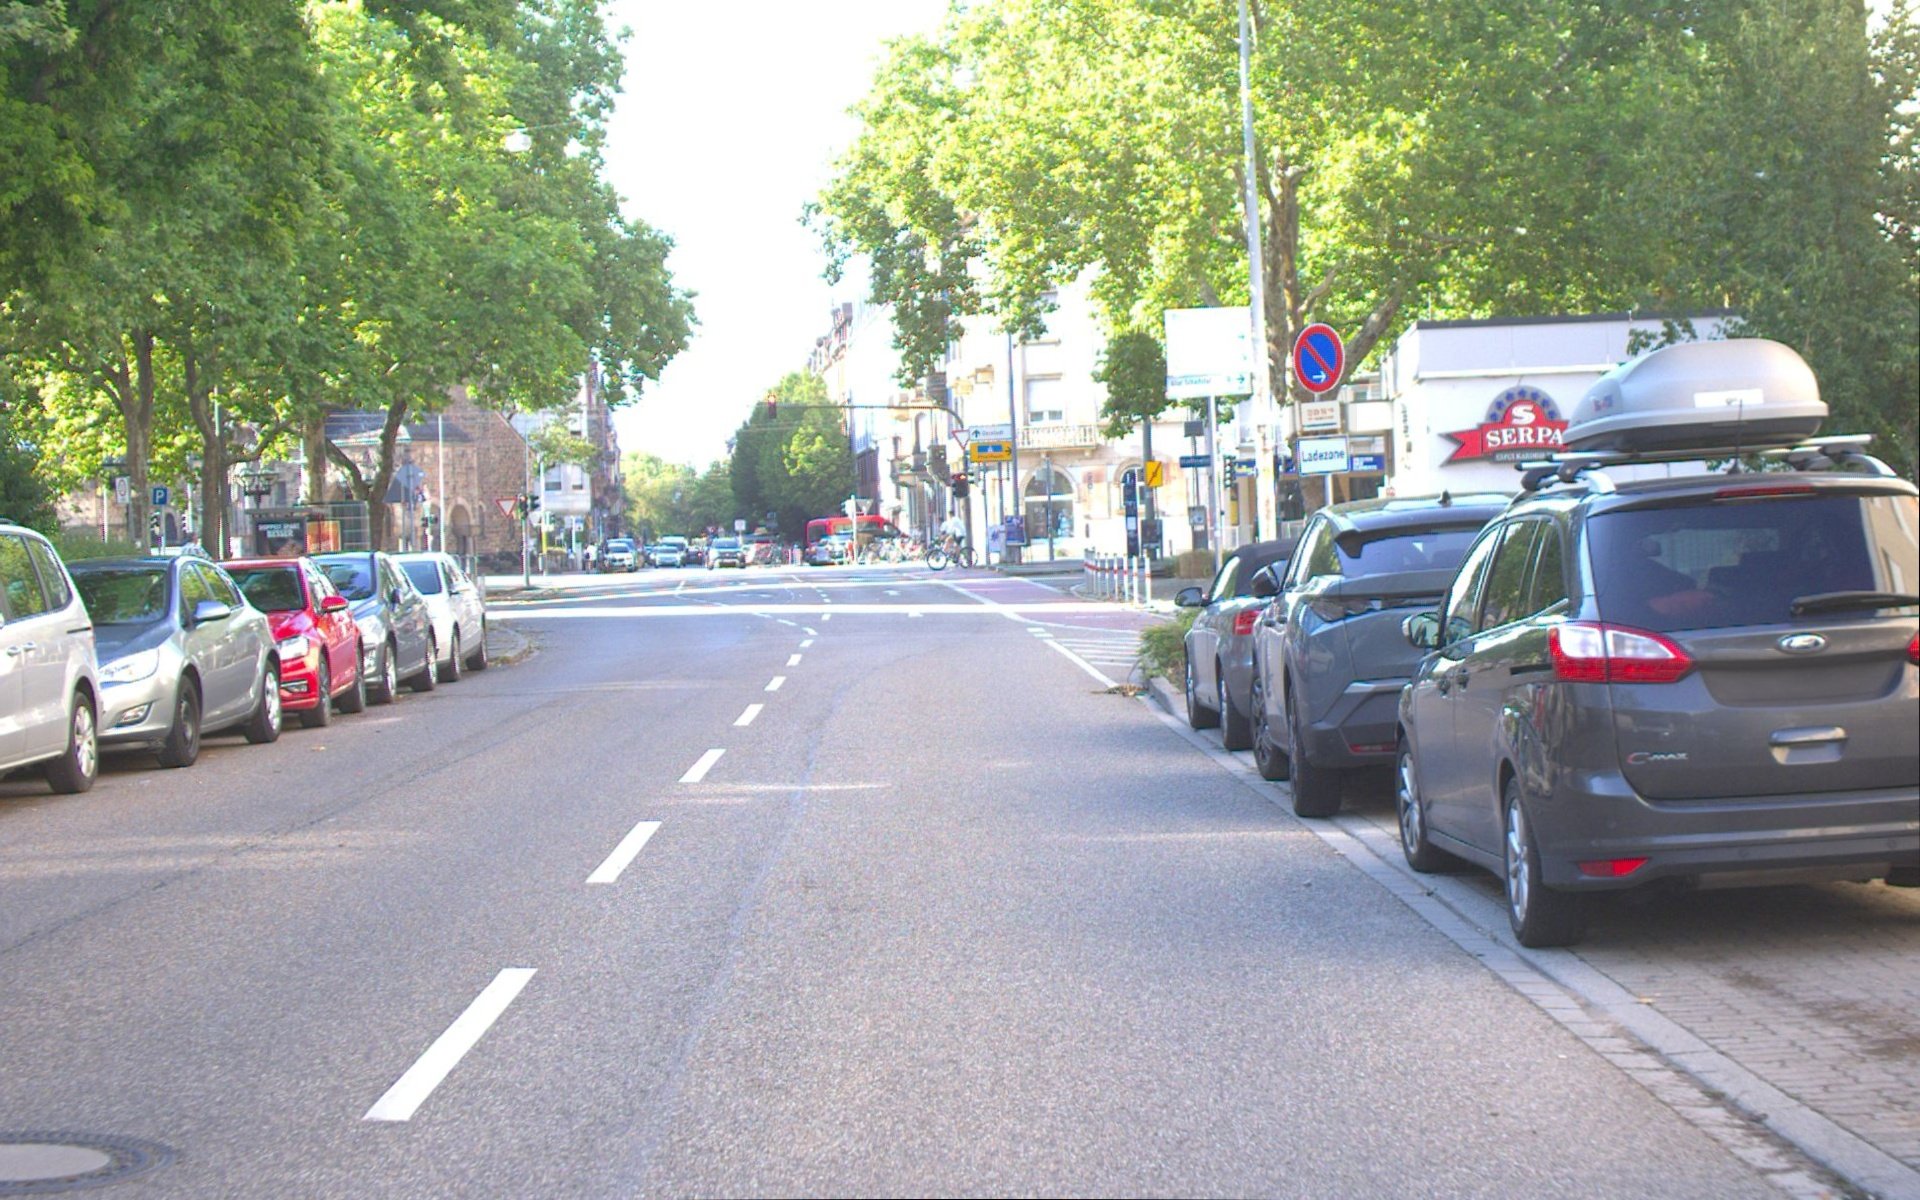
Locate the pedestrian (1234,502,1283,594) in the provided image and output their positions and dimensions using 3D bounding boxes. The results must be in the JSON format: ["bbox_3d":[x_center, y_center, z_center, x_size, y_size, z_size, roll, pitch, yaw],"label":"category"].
[{"bbox_3d":[6.777,-1.169,78.192,0.827,2.007,1.153,-5,0,-1],"label":"pedestrian"}]

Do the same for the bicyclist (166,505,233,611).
[{"bbox_3d":[-14.525,-0.801,65.667,0.976,2.007,0.796,0,0,34],"label":"bicyclist"}]

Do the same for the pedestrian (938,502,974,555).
[{"bbox_3d":[-0.120,-2.312,111.206,0.992,1.702,0.627,0,0,27],"label":"pedestrian"}]

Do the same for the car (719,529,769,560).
[{"bbox_3d":[-10.436,-2.692,166.104,1.587,1.457,3.181,0,0,13],"label":"car"}]

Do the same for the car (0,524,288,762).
[{"bbox_3d":[-6.167,0.274,24.645,1.870,1.553,4.497,0,0,-1],"label":"car"}]

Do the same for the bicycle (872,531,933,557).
[{"bbox_3d":[-2.659,-2.581,158.828,2.802,1.199,0.517,0,0,-7],"label":"bicycle"}]

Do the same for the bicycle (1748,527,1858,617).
[{"bbox_3d":[9.324,-0.326,38.099,0.636,0.922,2.230,0,3,-1],"label":"bicycle"}]

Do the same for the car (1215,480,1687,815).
[{"bbox_3d":[2.602,0.227,19.340,1.927,1.653,4.678,0,0,-1],"label":"car"}]

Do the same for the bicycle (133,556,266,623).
[{"bbox_3d":[-14.513,-0.202,65.682,1.010,1.260,2.478,0,0,34],"label":"bicycle"}]

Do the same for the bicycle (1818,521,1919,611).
[{"bbox_3d":[10.213,-0.396,38.461,0.636,0.922,2.230,0,3,-1],"label":"bicycle"}]

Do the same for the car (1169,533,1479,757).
[{"bbox_3d":[2.513,0.289,24.607,1.740,1.468,4.000,0,0,-1],"label":"car"}]

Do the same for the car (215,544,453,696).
[{"bbox_3d":[-6.250,0.183,34.721,1.703,1.435,4.129,0,0,-1],"label":"car"}]

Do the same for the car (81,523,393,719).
[{"bbox_3d":[-6.095,0.161,29.411,1.870,1.553,4.000,0,0,-1],"label":"car"}]

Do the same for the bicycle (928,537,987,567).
[{"bbox_3d":[-0.081,-1.544,111.209,1.786,0.978,0.656,0,0,27],"label":"bicycle"}]

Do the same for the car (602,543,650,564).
[{"bbox_3d":[-18.638,-2.577,192.061,1.595,1.140,3.381,0,0,14],"label":"car"}]

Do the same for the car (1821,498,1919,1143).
[{"bbox_3d":[3.033,0.498,6.675,1.605,1.489,4.042,-1,0,-1],"label":"car"}]

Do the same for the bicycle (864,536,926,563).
[{"bbox_3d":[-2.975,-2.296,157.099,2.802,1.199,0.510,0,0,-7],"label":"bicycle"}]

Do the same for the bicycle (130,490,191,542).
[{"bbox_3d":[-18.643,-1.938,80.242,0.718,1.141,3.292,0,0,-1],"label":"bicycle"}]

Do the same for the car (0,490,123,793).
[{"bbox_3d":[-6.266,0.226,19.449,1.916,1.672,4.974,0,0,-1],"label":"car"}]

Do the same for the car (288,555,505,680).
[{"bbox_3d":[-6.389,0.182,39.433,1.769,1.348,4.711,0,0,-1],"label":"car"}]

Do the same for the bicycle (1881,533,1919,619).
[{"bbox_3d":[10.952,-0.265,38.490,0.636,0.922,2.230,0,3,-1],"label":"bicycle"}]

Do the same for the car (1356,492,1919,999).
[{"bbox_3d":[2.815,0.425,13.557,1.897,1.645,4.343,-2,1,-1],"label":"car"}]
